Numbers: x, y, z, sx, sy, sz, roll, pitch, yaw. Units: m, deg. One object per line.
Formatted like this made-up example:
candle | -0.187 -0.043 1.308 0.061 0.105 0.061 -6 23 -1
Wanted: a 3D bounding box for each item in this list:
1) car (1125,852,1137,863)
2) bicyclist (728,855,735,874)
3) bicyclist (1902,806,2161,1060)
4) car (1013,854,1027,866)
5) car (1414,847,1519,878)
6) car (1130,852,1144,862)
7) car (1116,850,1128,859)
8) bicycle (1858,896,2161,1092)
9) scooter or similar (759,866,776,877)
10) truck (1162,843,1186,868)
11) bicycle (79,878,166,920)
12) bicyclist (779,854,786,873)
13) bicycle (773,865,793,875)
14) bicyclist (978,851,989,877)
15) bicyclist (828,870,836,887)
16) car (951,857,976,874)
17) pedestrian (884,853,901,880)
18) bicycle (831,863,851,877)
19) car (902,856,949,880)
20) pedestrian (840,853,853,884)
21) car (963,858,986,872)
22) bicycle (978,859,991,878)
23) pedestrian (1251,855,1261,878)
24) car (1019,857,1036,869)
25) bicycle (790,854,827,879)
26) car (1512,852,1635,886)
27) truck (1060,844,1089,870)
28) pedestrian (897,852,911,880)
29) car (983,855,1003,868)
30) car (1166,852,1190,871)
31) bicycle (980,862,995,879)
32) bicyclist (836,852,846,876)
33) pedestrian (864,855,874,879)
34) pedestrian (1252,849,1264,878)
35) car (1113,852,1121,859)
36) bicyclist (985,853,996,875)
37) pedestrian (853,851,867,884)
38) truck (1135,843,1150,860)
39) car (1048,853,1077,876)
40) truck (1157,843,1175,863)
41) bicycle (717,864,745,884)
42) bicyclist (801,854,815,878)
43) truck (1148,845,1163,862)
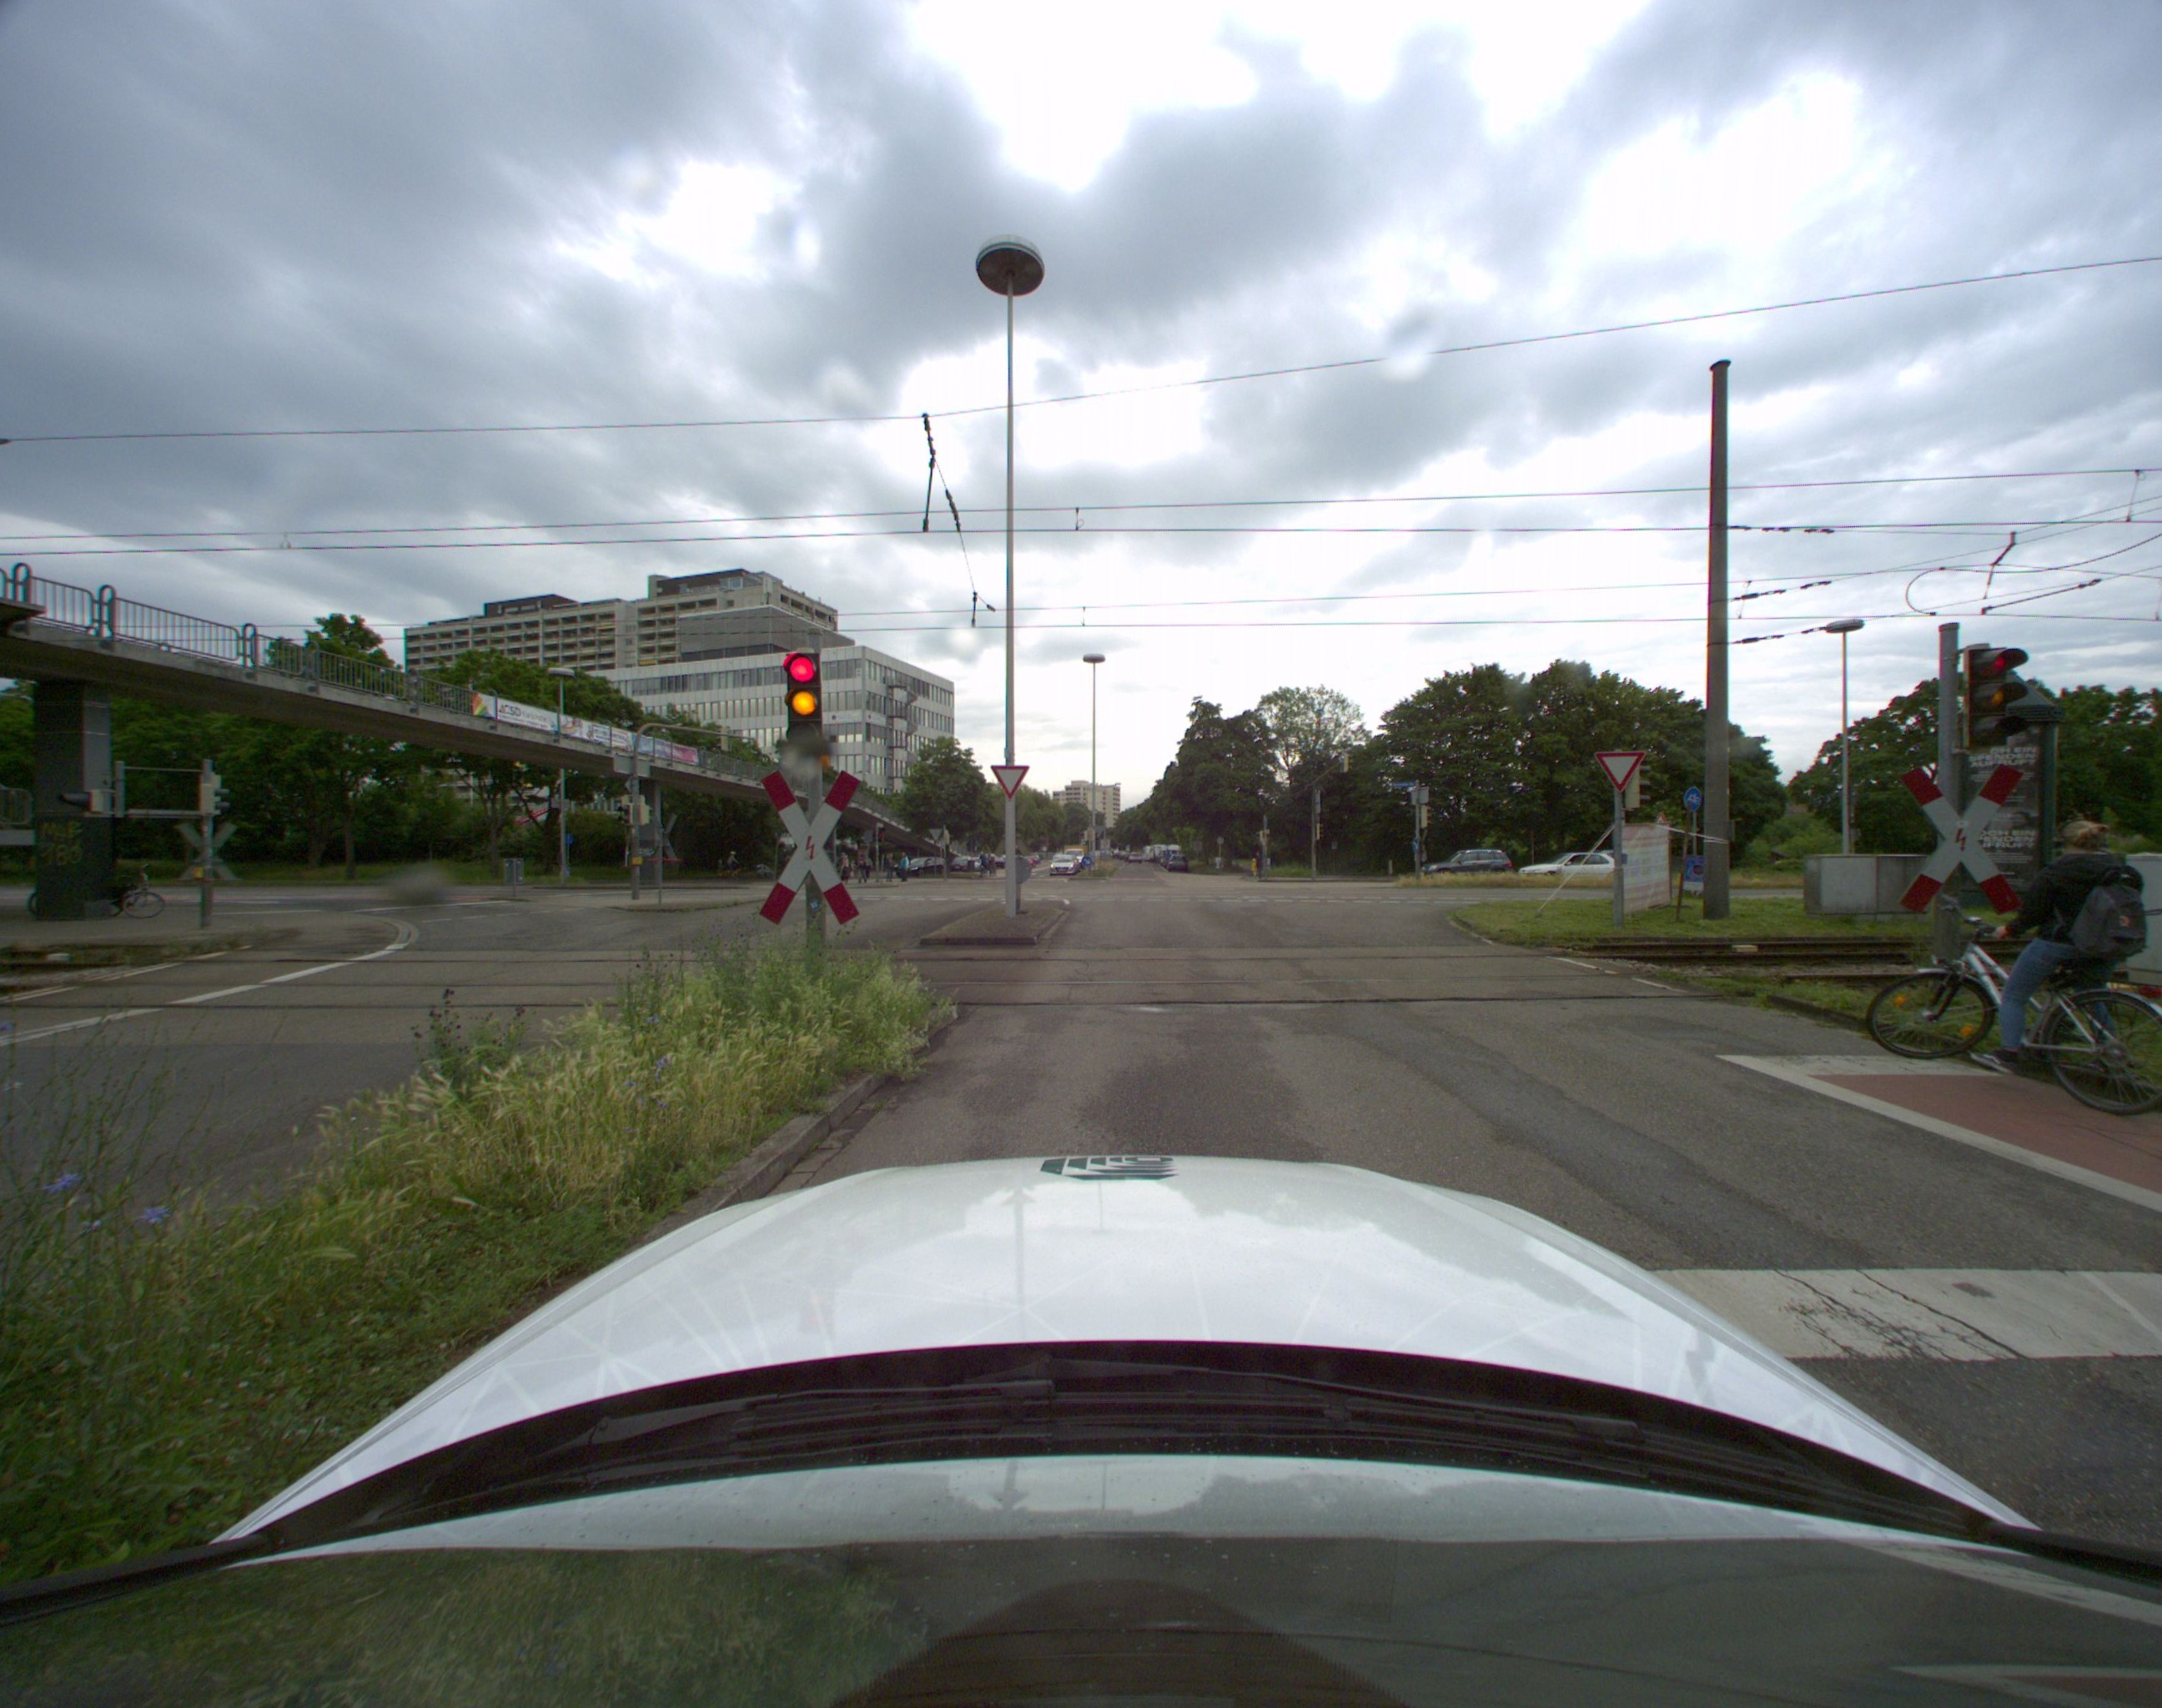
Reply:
car | 8.317 0.554 135.382 1.986 1.764 4.001 0 -1 2
bicyclist | -23.240 0.684 54.169 0.407 1.253 0.275 0 0 -23
bicyclist | 6.022 0.455 5.156 0.619 1.424 0.961 4 0 1
car | -8.149 0.789 108.512 1.439 1.552 3.666 0 0 2
car | 19.586 0.418 41.509 4.447 1.504 1.847 0 0 2
car | 8.379 0.431 122.514 2.013 1.505 4.002 0 0 2
car | 7.212 0.126 142.952 2.013 1.505 4.002 0 0 2
bicycle | 6.069 0.802 5.170 0.381 0.980 2.030 0 -1 2
scooter or similar | -21.362 1.180 55.482 0.401 0.715 1.003 0 0 40
truck | 10.276 0.211 90.666 2.166 2.656 6.249 -1 -1 2
bicycle | -21.717 1.014 18.451 2.017 0.921 0.375 0 0 13
bicyclist | -20.667 0.624 56.365 0.275 1.303 0.386 0 0 40
bicycle | -20.640 1.110 56.401 0.287 0.692 1.306 0 0 40
bicyclist | -6.669 0.670 55.858 0.642 1.768 0.647 0 0 1
bicyclist | -17.111 1.698 55.950 0.403 1.181 0.378 0 1 4
car | -11.206 1.048 78.087 1.665 1.552 3.894 0 0 3
pedestrian | -10.688 0.719 46.198 0.917 1.511 0.402 0 0 -10
bicycle | -17.113 1.105 58.080 0.628 0.925 2.524 0 0 2
car | -11.002 0.968 57.857 1.659 1.552 4.017 0 0 16
pedestrian | -12.763 0.790 44.293 0.619 1.691 0.403 0 0 -12
car | -10.861 1.108 83.578 1.665 1.387 3.898 0 0 3
bicycle | -6.683 0.988 56.360 0.541 1.267 2.112 0 0 2
pedestrian | 10.707 0.758 49.816 0.525 1.342 0.525 0 0 1
car | -6.337 1.059 97.233 1.505 1.390 3.537 0 -1 4
bicycle | -18.486 0.813 55.304 0.521 1.625 2.380 0 0 44
car | 20.444 0.614 33.911 4.120 1.357 1.648 0 0 2
truck | -0.511 0.252 72.209 2.146 2.199 5.845 0 0 3
pedestrian | -10.048 0.665 46.170 0.685 1.605 0.487 0 0 -3
car | -10.142 0.832 94.117 1.757 1.395 4.002 0 0 2
car | 8.795 0.624 73.889 1.777 1.662 4.002 0 0 2
bicycle | -6.641 1.153 57.928 0.724 1.101 2.265 0 0 2
bicyclist | -17.109 0.709 58.020 0.563 1.644 0.532 0 -1 2
pedestrian | -13.765 0.828 52.860 0.580 1.579 0.777 0 0 -16
pedestrian | 10.667 0.565 49.100 0.654 1.750 0.459 0 0 1
car | 7.635 0.380 171.876 1.549 1.505 3.999 0 0 0
bicyclist | -6.507 0.721 58.715 0.676 1.594 0.695 0 -1 1
pedestrian | -12.197 0.737 44.922 0.636 1.803 0.800 0 0 -7
truck | 10.793 -0.441 142.911 1.988 3.009 5.768 0 -1 -1
car | -1.284 0.726 58.016 1.782 1.519 4.327 0 0 2
truck | 12.500 -0.171 119.985 1.988 2.838 5.727 0 0 -2
bicycle | -23.260 1.341 54.135 1.711 1.304 0.386 0 0 -23
bicyclist | -18.534 0.814 55.297 0.521 1.625 0.754 0 0 44
truck | 12.098 -0.062 132.076 1.987 2.573 5.377 0 -1 0
